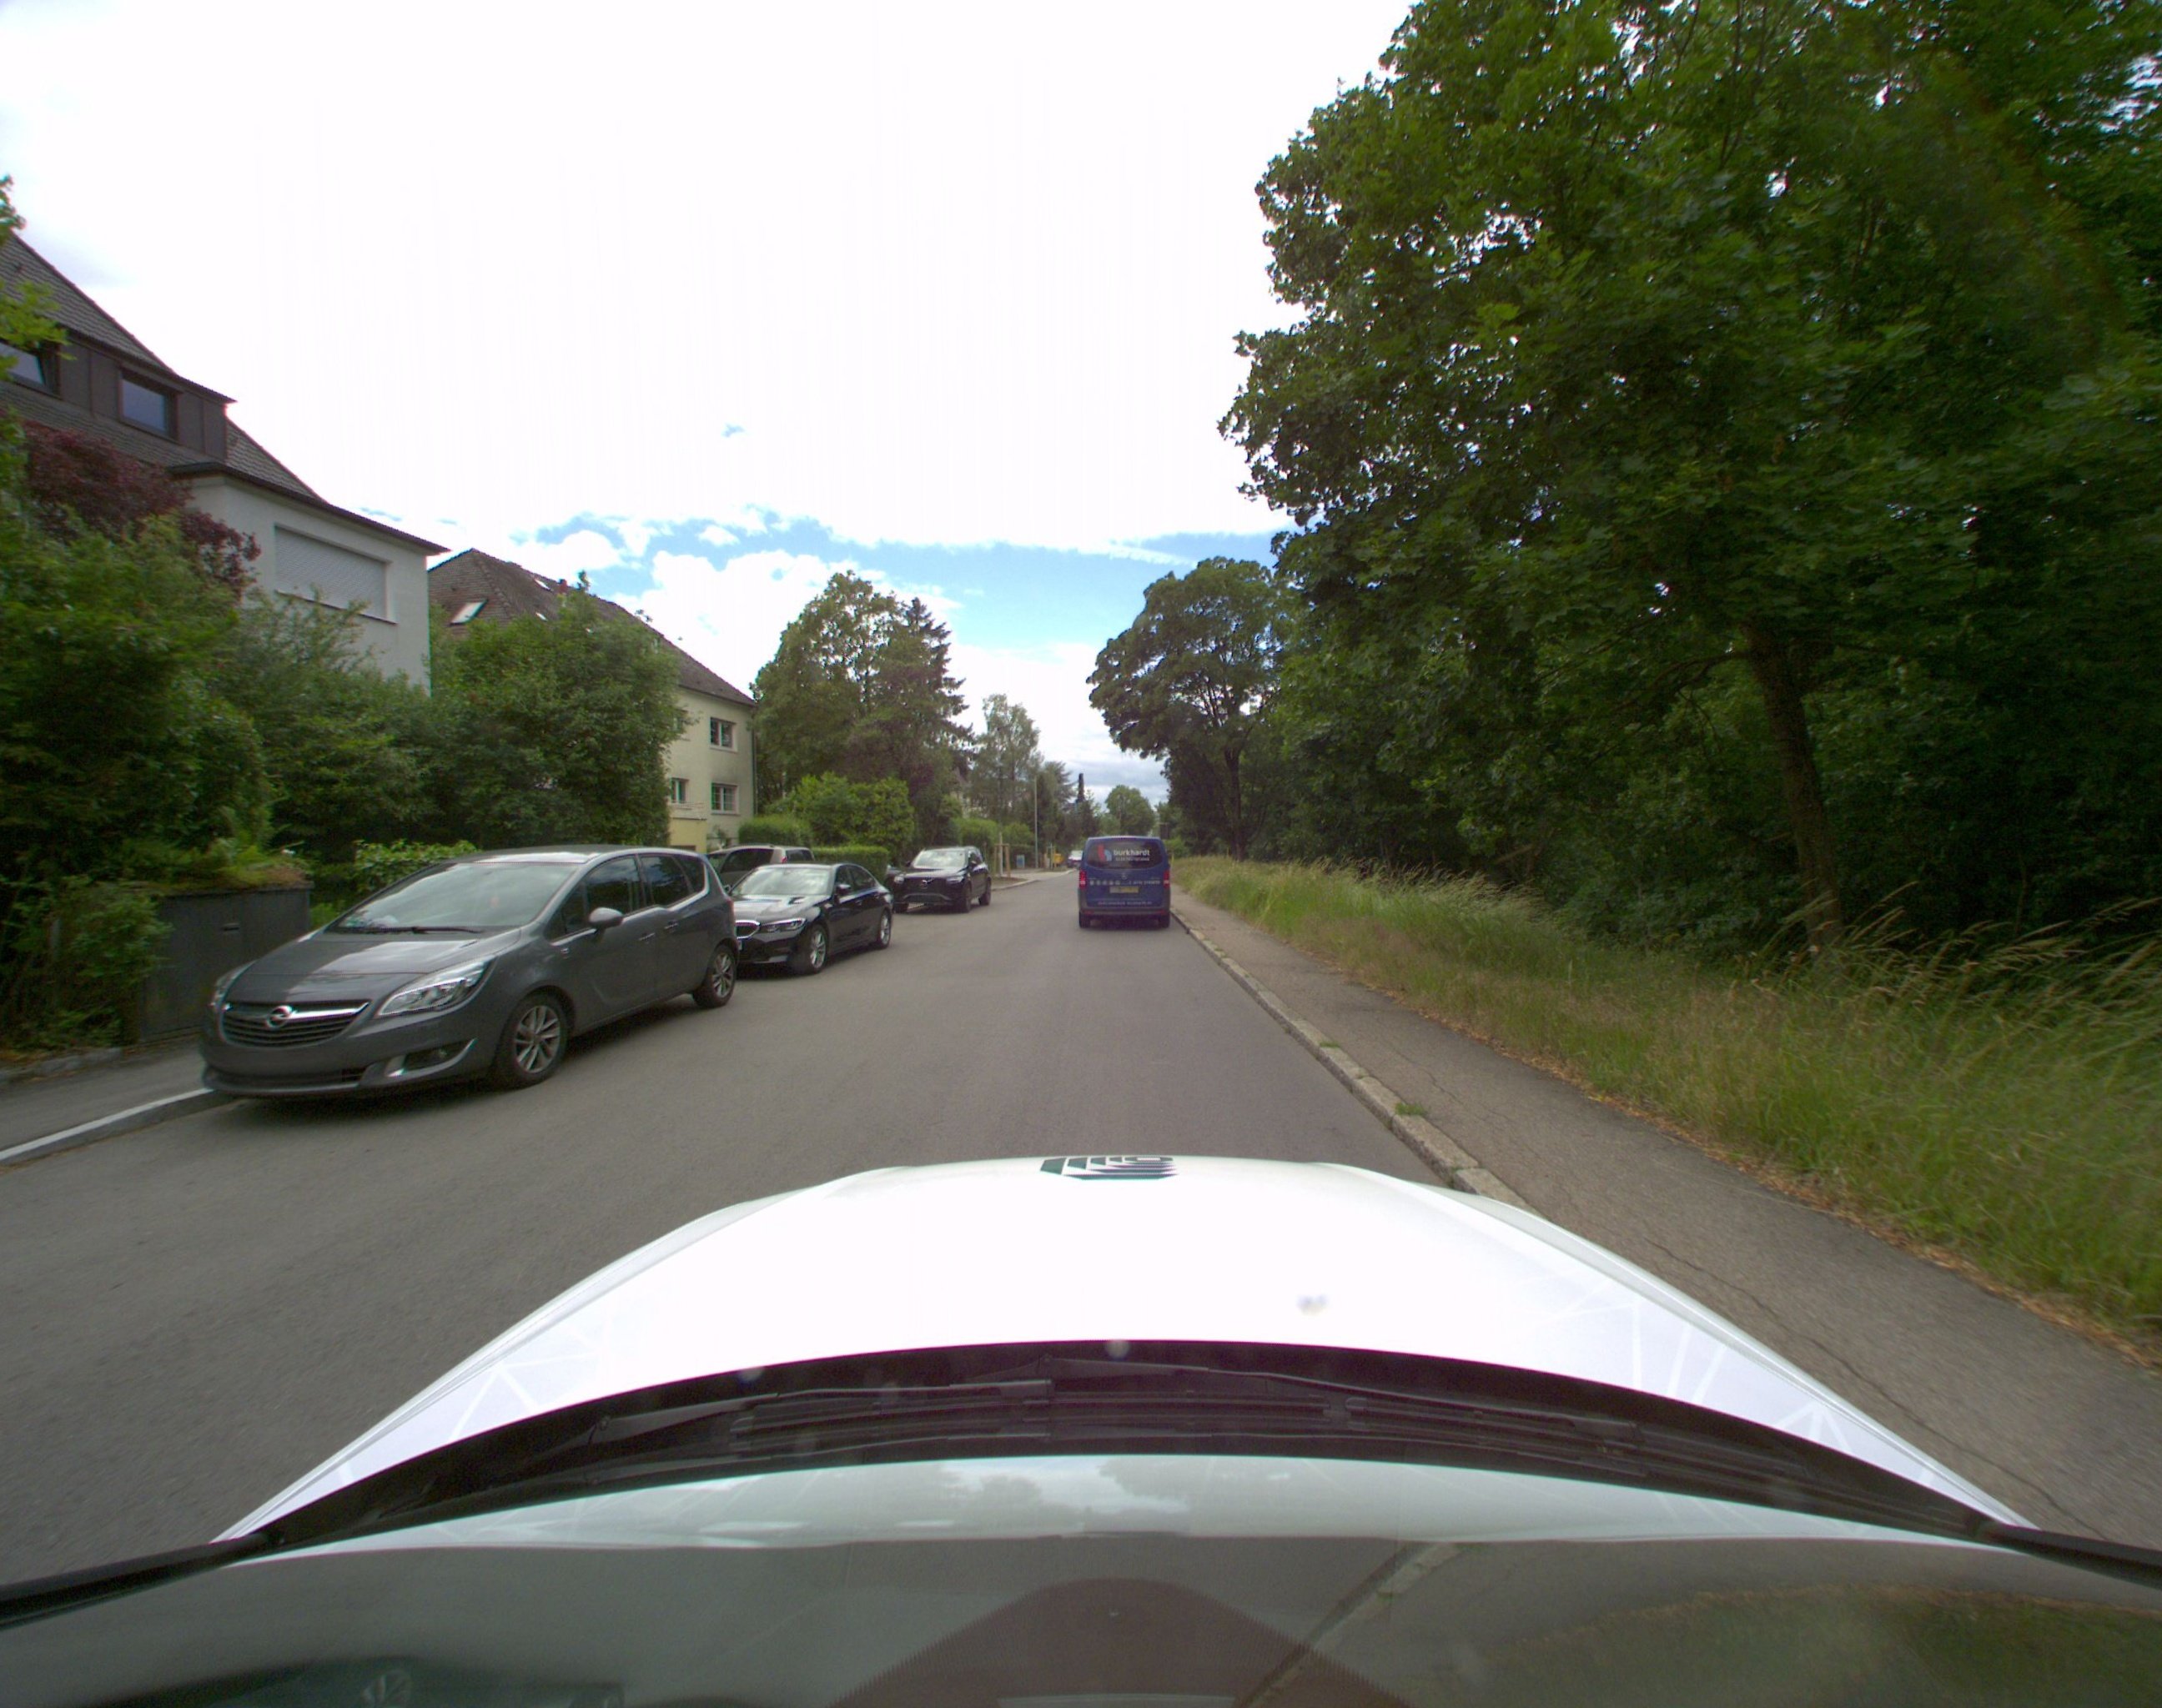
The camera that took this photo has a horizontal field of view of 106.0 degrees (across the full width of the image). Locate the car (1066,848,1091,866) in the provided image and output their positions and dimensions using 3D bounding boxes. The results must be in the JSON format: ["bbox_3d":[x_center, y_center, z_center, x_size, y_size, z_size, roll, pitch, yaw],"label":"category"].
[{"bbox_3d":[-0.180,0.256,74.039,1.827,1.631,4.306,1,0,5],"label":"car"}]

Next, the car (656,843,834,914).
[{"bbox_3d":[-8.216,0.564,20.044,3.665,1.637,1.835,0,0,14],"label":"car"}]

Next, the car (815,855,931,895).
[{"bbox_3d":[-7.812,0.763,30.809,3.804,1.385,1.781,-1,1,5],"label":"car"}]

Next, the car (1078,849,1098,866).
[{"bbox_3d":[0.788,0.362,86.921,1.823,1.751,4.006,1,1,5],"label":"car"}]

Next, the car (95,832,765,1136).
[{"bbox_3d":[-4.386,0.687,6.659,1.725,1.632,4.569,0,0,1],"label":"car"}]

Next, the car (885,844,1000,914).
[{"bbox_3d":[-3.705,0.603,22.829,1.965,1.737,5.195,0,0,4],"label":"car"}]

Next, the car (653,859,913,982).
[{"bbox_3d":[-4.049,0.798,12.105,1.746,1.412,4.904,0,0,4],"label":"car"}]

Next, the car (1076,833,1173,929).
[{"bbox_3d":[0.854,0.479,17.769,1.882,1.844,4.000,0,1,0],"label":"car"}]

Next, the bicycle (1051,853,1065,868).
[{"bbox_3d":[-1.995,0.568,71.214,0.902,1.252,2.920,2,0,5],"label":"bicycle"}]
